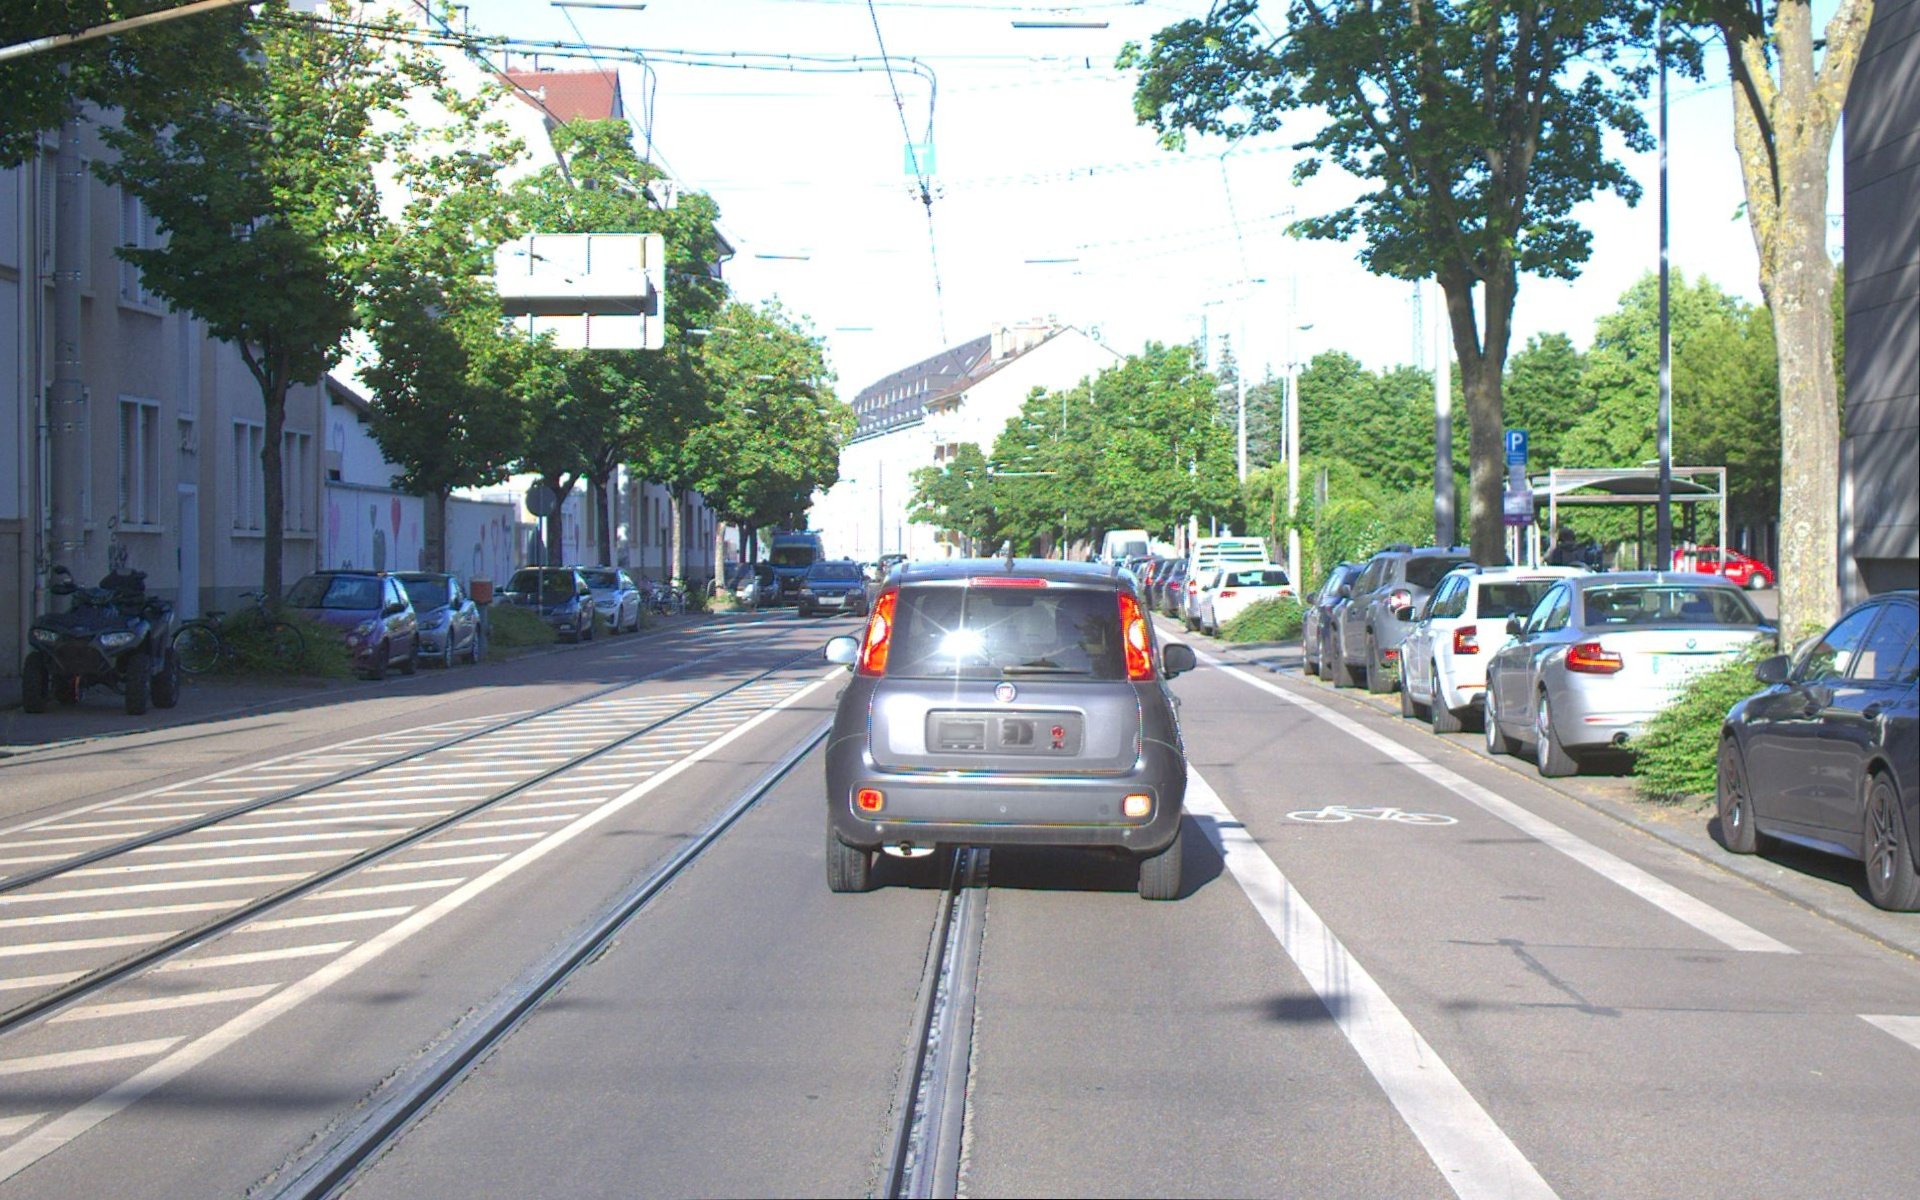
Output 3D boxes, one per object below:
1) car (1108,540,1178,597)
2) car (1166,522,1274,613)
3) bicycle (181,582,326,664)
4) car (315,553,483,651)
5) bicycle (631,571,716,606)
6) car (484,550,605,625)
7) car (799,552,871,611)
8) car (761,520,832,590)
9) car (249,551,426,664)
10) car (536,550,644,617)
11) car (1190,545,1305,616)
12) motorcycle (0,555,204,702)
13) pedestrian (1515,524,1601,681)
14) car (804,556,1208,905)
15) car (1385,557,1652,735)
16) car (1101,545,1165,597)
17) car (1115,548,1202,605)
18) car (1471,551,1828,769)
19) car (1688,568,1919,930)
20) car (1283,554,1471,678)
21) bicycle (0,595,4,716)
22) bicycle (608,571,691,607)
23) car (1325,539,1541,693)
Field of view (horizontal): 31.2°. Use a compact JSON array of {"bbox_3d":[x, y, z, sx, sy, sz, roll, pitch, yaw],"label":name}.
[{"bbox_3d":[5.131,-0.906,96.734,1.696,1.542,4.000,-1,1,0],"label":"car"},{"bbox_3d":[5.607,-0.729,74.639,1.956,1.898,4.188,-1,1,-1],"label":"car"},{"bbox_3d":[-9.052,0.292,44.057,1.744,1.020,0.609,1,0,-19],"label":"bicycle"},{"bbox_3d":[-8.639,0.004,53.260,1.956,1.415,4.188,-1,1,-1],"label":"car"},{"bbox_3d":[-7.713,-0.312,92.462,2.323,0.927,0.789,0,1,37],"label":"bicycle"},{"bbox_3d":[-8.277,-0.273,68.767,1.956,1.415,4.188,-1,1,-1],"label":"car"},{"bbox_3d":[-3.295,-0.506,91.170,1.781,1.487,4.188,0,1,-1],"label":"car"},{"bbox_3d":[-6.195,-1.727,130.870,2.333,2.560,5.672,-1,1,1],"label":"car"},{"bbox_3d":[-8.637,0.068,48.017,1.797,1.481,4.000,-1,1,-1],"label":"car"},{"bbox_3d":[-8.154,-0.384,76.078,1.956,1.415,4.188,-1,1,-1],"label":"car"},{"bbox_3d":[5.802,-0.411,69.726,1.914,1.371,4.188,-1,1,-1],"label":"car"},{"bbox_3d":[-9.087,0.270,36.461,1.458,1.476,3.102,-1,1,0],"label":"motorcycle"},{"bbox_3d":[7.757,0.023,44.627,0.968,2.007,1.025,0,1,2],"label":"pedestrian"},{"bbox_3d":[0.230,0.546,16.749,1.731,1.495,4.000,0,0,1],"label":"car"},{"bbox_3d":[4.982,0.360,31.225,1.746,1.453,4.618,-1,1,1],"label":"car"},{"bbox_3d":[5.170,-0.875,103.157,1.696,1.494,4.000,-1,1,0],"label":"car"},{"bbox_3d":[5.073,-0.624,88.327,1.956,1.415,4.188,-1,1,-1],"label":"car"},{"bbox_3d":[4.963,0.376,25.284,1.822,1.459,4.157,0,1,1],"label":"car"},{"bbox_3d":[4.954,0.609,16.597,1.839,1.485,4.643,-1,1,-1],"label":"car"},{"bbox_3d":[5.263,0.169,43.878,1.842,1.478,4.188,-1,1,-1],"label":"car"},{"bbox_3d":[-9.087,0.463,29.410,1.705,1.030,0.444,1,0,-19],"label":"bicycle"},{"bbox_3d":[-8.284,-0.302,91.644,2.263,0.927,0.789,0,1,37],"label":"bicycle"},{"bbox_3d":[5.275,0.135,38.776,1.817,1.634,4.105,-1,1,-1],"label":"car"}]
